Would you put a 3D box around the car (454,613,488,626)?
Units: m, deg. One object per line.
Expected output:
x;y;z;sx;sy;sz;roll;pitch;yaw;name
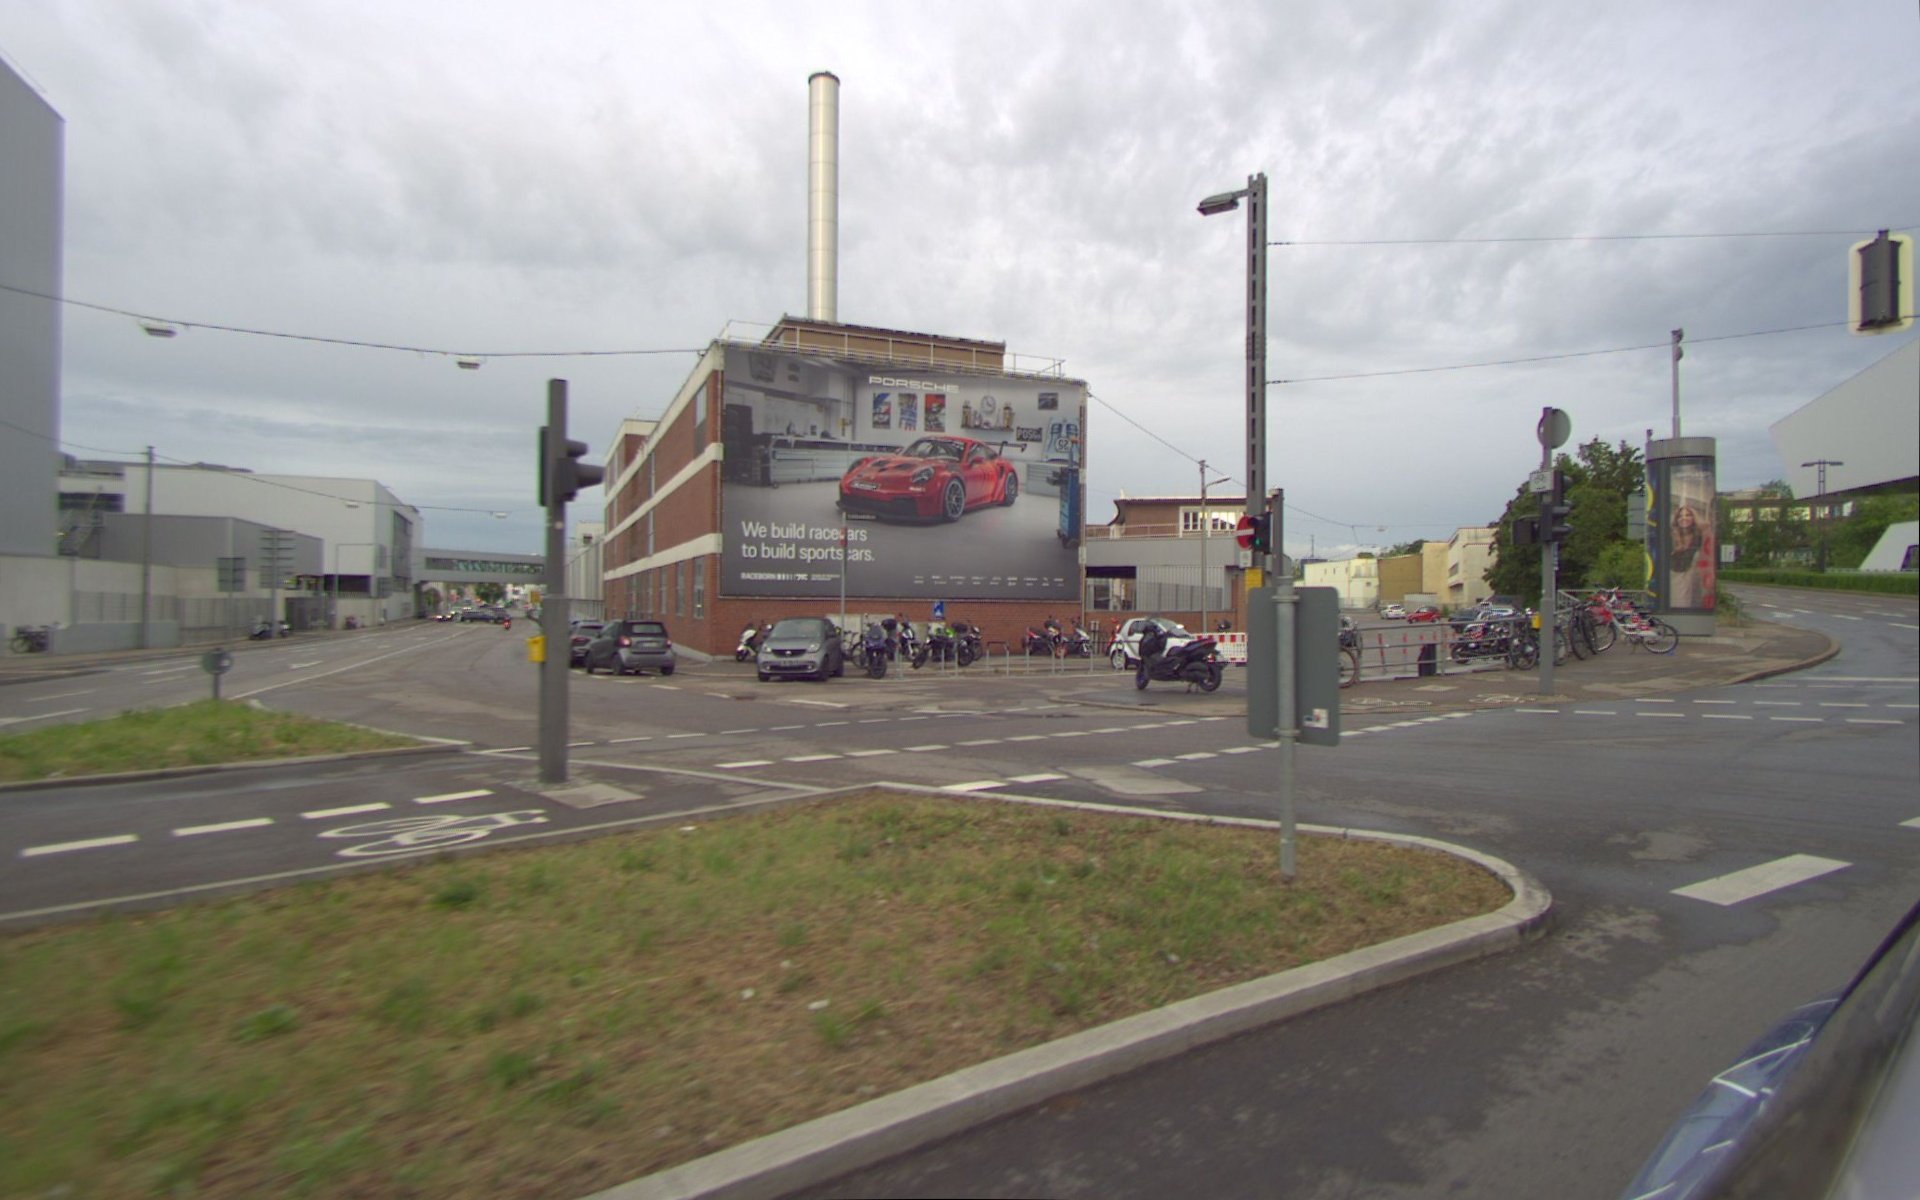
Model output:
-63.495;2.517;131.445;3.918;1.579;1.617;-1;0;-27;car

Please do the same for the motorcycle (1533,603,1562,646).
13.301;0.538;22.890;0.432;0.901;1.248;-1;2;36;motorcycle

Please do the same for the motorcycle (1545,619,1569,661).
14.623;0.960;24.805;0.399;0.901;1.526;-1;2;28;motorcycle

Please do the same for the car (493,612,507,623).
-59.548;2.253;131.066;1.429;1.256;3.378;-3;1;-20;car

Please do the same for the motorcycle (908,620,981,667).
-0.411;1.143;27.170;1.827;1.124;0.545;-3;1;-23;motorcycle

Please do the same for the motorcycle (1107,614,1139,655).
5.853;1.219;36.339;0.519;1.350;1.652;-2;1;30;motorcycle

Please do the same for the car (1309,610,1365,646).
19.335;1.424;51.834;1.771;1.688;4.453;-1;0;32;car

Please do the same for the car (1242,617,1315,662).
12.695;1.530;40.126;1.873;1.570;4.461;-1;0;29;car

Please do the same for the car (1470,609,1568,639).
28.135;1.195;50.999;1.693;1.444;3.988;-1;0;-44;car

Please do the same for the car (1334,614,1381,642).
22.444;1.566;57.043;1.708;1.422;4.225;-1;0;32;car

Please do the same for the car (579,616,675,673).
-9.332;1.226;28.289;1.528;1.512;2.744;2;-3;-43;car

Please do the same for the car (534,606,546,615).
-62.551;1.592;150.688;1.429;1.256;3.378;-3;1;-20;car

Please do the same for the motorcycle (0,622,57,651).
-37.200;1.445;40.211;1.888;1.089;0.627;0;-1;-29;motorcycle

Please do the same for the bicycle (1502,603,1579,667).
11.024;0.645;19.199;1.709;1.097;0.348;-2;1;-26;bicycle

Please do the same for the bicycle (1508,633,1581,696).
11.532;1.255;19.951;1.709;1.097;0.348;-2;1;-26;bicycle

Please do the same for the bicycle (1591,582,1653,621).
18.771;0.044;28.699;1.434;1.087;0.443;0;3;0;bicycle

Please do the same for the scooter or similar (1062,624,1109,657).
4.341;1.391;35.160;0.496;1.110;1.634;-3;1;-44;scooter or similar

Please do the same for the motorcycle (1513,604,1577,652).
12.522;0.589;21.643;1.712;0.906;0.547;-3;2;-37;motorcycle

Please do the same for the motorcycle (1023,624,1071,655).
2.892;1.294;33.722;0.532;0.985;1.612;-3;1;-44;motorcycle

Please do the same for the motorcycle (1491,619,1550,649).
18.256;1.112;32.973;1.594;0.933;0.419;-2;1;17;motorcycle

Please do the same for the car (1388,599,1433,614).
46.082;0.651;103.619;3.944;1.444;1.712;-1;0;17;car

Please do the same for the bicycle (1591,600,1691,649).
14.451;0.506;21.505;1.737;0.973;0.416;0;2;39;bicycle

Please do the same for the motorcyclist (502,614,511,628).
-46.638;2.172;103.985;0.720;1.390;1.021;-3;1;-20;motorcyclist

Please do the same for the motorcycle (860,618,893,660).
-2.555;1.176;30.903;0.533;1.195;1.651;-3;1;-20;motorcycle

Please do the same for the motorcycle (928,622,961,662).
-0.489;1.274;31.310;0.467;1.133;1.813;-3;1;-18;motorcycle

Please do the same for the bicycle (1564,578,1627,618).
19.041;-0.070;30.336;1.529;1.169;0.447;1;3;26;bicycle

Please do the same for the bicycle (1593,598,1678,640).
15.895;0.433;23.830;1.610;0.933;0.415;0;0;43;bicycle

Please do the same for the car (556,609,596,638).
-21.421;1.265;56.362;1.663;1.461;3.393;-3;1;-28;car

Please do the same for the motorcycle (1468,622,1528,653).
17.113;1.201;32.213;1.595;0.933;0.419;-2;1;18;motorcycle

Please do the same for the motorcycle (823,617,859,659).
-3.621;1.135;30.722;0.661;1.195;1.651;-3;1;-20;motorcycle

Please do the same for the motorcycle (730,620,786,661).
-6.236;1.246;31.285;1.614;1.124;0.546;-3;1;-15;motorcycle

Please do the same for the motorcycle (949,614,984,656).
0.195;1.103;32.220;0.533;1.254;1.811;0;0;-20;motorcycle

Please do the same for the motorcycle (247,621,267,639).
-45.673;1.926;65.770;0.554;1.089;1.931;0;0;-19;motorcycle

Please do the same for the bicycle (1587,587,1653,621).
19.168;0.117;29.395;1.670;0.933;0.487;-1;1;-5;bicycle

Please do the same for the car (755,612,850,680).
-3.829;1.092;25.090;1.596;1.523;3.242;-1;0;5;car

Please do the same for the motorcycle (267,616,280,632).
-48.281;1.675;71.190;0.556;1.146;1.924;0;-1;-40;motorcycle

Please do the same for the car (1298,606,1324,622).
33.421;1.353;96.450;1.693;1.444;3.989;-1;0;10;car

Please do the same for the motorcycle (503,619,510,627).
-46.602;2.356;103.978;0.554;0.677;2.231;-3;1;-20;motorcycle

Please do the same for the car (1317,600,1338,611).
49.465;0.764;136.337;1.691;1.444;3.993;-1;0;6;car

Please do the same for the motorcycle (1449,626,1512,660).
15.459;1.286;30.077;1.598;0.933;0.478;-2;1;24;motorcycle

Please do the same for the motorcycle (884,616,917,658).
-1.847;1.132;31.200;0.533;1.195;1.717;-3;1;-20;motorcycle

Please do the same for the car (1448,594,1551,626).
25.596;0.474;48.059;1.693;1.444;3.988;-1;0;-44;car

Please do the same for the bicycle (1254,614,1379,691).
6.013;0.866;17.067;2.030;1.144;0.422;-3;1;-13;bicycle

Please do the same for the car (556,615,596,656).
-15.759;1.409;41.587;1.429;1.461;3.472;-3;1;-20;car

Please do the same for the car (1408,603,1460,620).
42.539;1.067;90.857;3.944;1.444;1.712;-1;0;17;car

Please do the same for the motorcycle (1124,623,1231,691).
4.016;1.033;18.830;0.479;1.160;2.093;-3;1;-38;motorcycle

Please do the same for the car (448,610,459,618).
-95.709;2.660;191.260;1.581;1.579;4.006;-1;0;-24;car

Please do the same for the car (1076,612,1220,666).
5.580;1.133;30.316;3.980;1.508;1.546;-1;0;40;car

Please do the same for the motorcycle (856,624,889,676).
-2.163;1.200;24.977;0.485;1.160;1.727;-3;1;-14;motorcycle

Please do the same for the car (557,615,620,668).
-12.155;1.293;33.003;1.536;1.461;4.112;-3;1;-25;car

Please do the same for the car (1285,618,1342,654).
16.116;1.613;46.077;1.706;1.444;3.957;-1;0;30;car

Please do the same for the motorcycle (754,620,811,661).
-5.306;1.201;30.242;1.568;1.134;0.546;-3;1;-15;motorcycle

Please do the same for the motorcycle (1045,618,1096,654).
3.780;1.219;34.654;0.575;1.166;1.716;-3;1;-44;motorcycle

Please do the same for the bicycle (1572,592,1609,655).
13.071;0.461;20.955;0.398;1.189;1.987;-1;2;39;bicycle

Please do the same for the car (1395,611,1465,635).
30.322;1.479;65.385;3.953;1.444;1.708;-1;0;22;car
